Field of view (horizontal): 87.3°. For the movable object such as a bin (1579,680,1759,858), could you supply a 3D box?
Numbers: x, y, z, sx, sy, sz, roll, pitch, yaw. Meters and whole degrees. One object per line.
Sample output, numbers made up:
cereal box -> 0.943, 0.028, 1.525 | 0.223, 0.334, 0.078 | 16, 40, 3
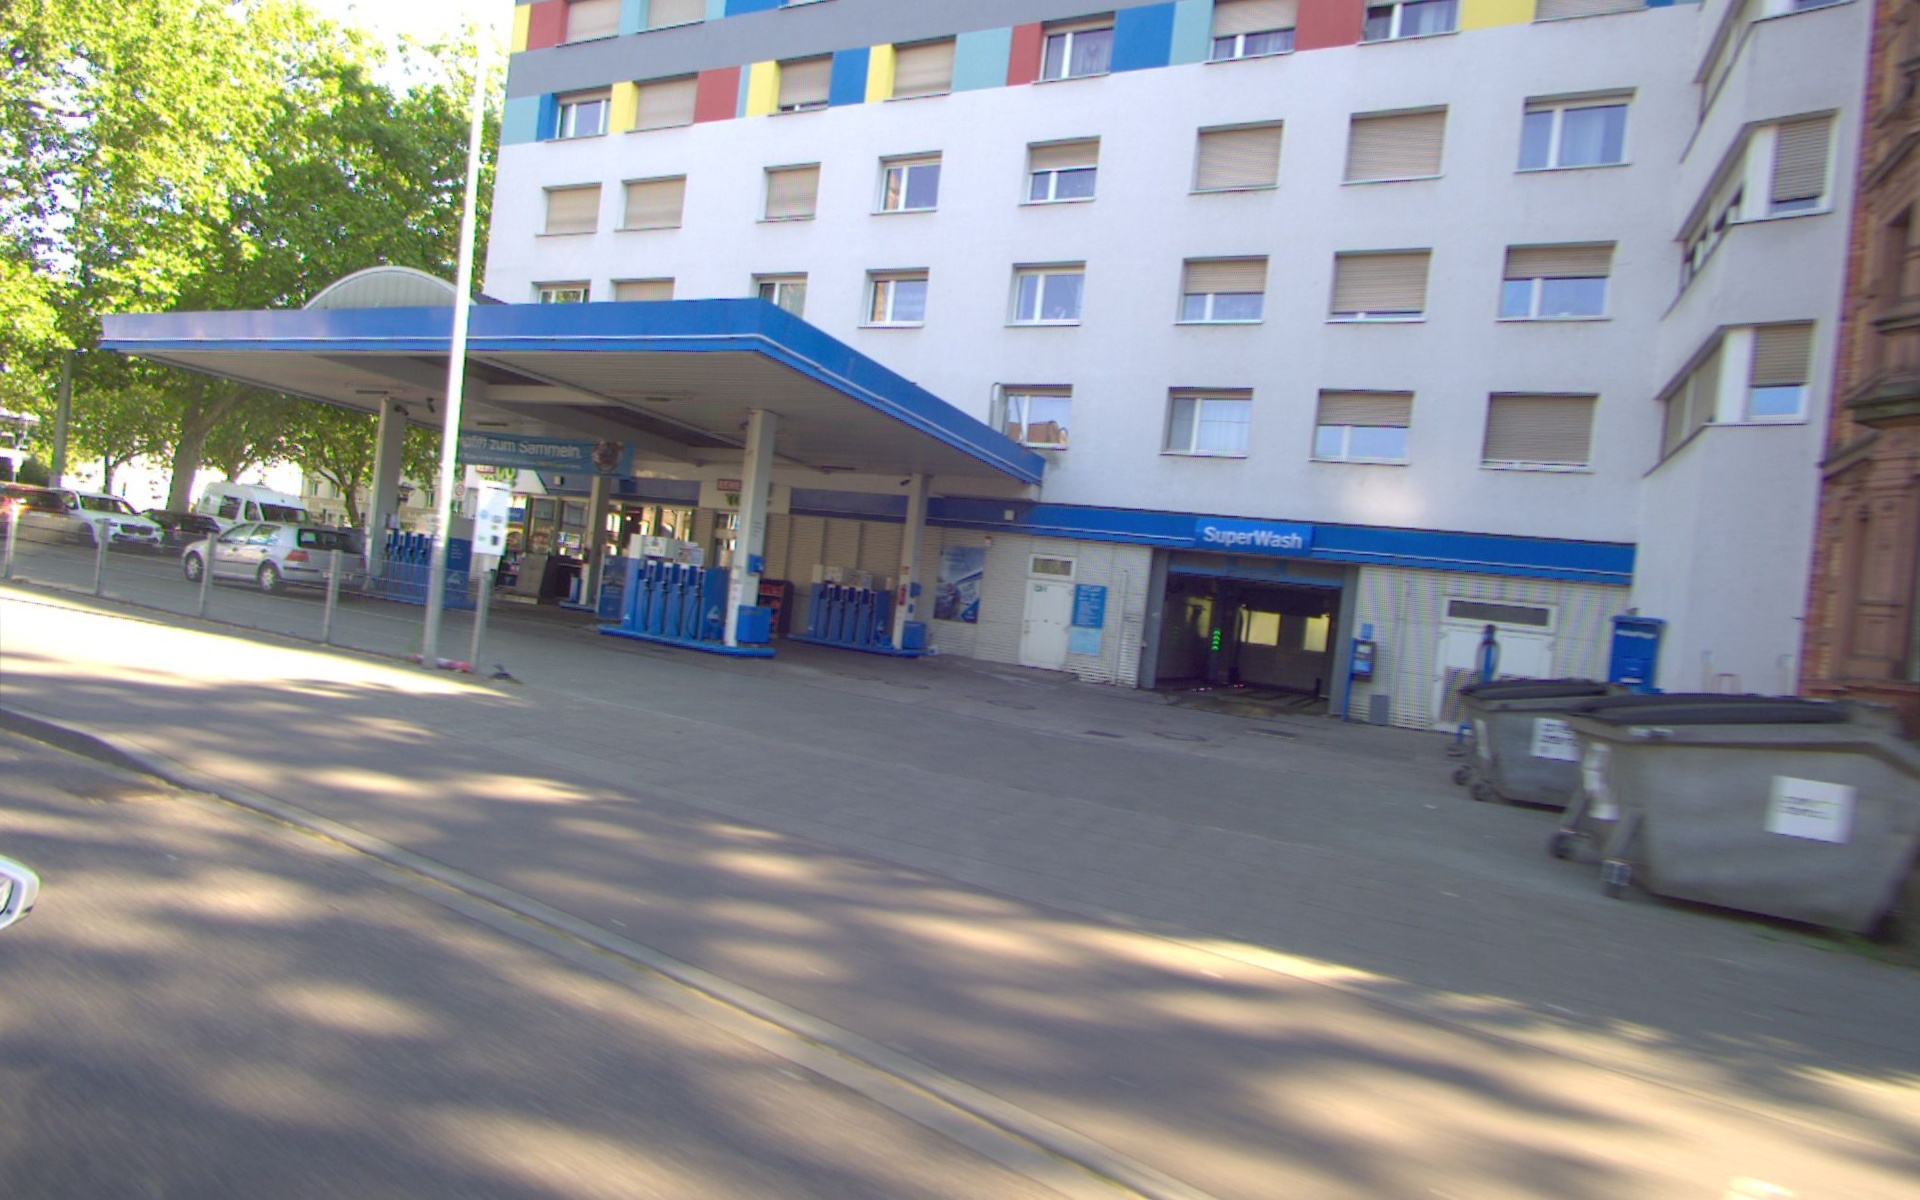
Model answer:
movable object such as a bin -> 6.626, 1.527, 9.492 | 1.010, 1.406, 1.189 | 7, 0, 23

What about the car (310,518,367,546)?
car -> -56.592, -6.174, 91.738 | 1.785, 1.677, 4.005 | 7, -3, 21

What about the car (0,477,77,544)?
car -> -28.407, -2.800, 29.523 | 4.577, 1.622, 1.823 | 8, 0, 22

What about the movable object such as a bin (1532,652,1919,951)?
movable object such as a bin -> 5.233, 1.238, 7.005 | 1.714, 1.509, 2.042 | 7, -1, 21

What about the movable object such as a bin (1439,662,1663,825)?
movable object such as a bin -> 6.678, 1.552, 11.623 | 1.745, 1.440, 2.216 | 7, -1, 21

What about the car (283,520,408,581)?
car -> -23.248, -1.872, 38.087 | 3.927, 1.760, 2.000 | 7, -1, 23

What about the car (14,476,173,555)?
car -> -26.857, -2.613, 31.153 | 4.712, 1.756, 1.865 | 8, 0, 25

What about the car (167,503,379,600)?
car -> -13.850, -0.976, 20.255 | 4.025, 1.448, 1.571 | 7, 0, 24

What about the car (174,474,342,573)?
car -> -25.400, -2.765, 36.396 | 5.693, 2.868, 2.246 | 7, 0, 25

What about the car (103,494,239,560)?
car -> -26.064, -2.415, 33.232 | 3.928, 1.589, 1.865 | 8, 0, 25
